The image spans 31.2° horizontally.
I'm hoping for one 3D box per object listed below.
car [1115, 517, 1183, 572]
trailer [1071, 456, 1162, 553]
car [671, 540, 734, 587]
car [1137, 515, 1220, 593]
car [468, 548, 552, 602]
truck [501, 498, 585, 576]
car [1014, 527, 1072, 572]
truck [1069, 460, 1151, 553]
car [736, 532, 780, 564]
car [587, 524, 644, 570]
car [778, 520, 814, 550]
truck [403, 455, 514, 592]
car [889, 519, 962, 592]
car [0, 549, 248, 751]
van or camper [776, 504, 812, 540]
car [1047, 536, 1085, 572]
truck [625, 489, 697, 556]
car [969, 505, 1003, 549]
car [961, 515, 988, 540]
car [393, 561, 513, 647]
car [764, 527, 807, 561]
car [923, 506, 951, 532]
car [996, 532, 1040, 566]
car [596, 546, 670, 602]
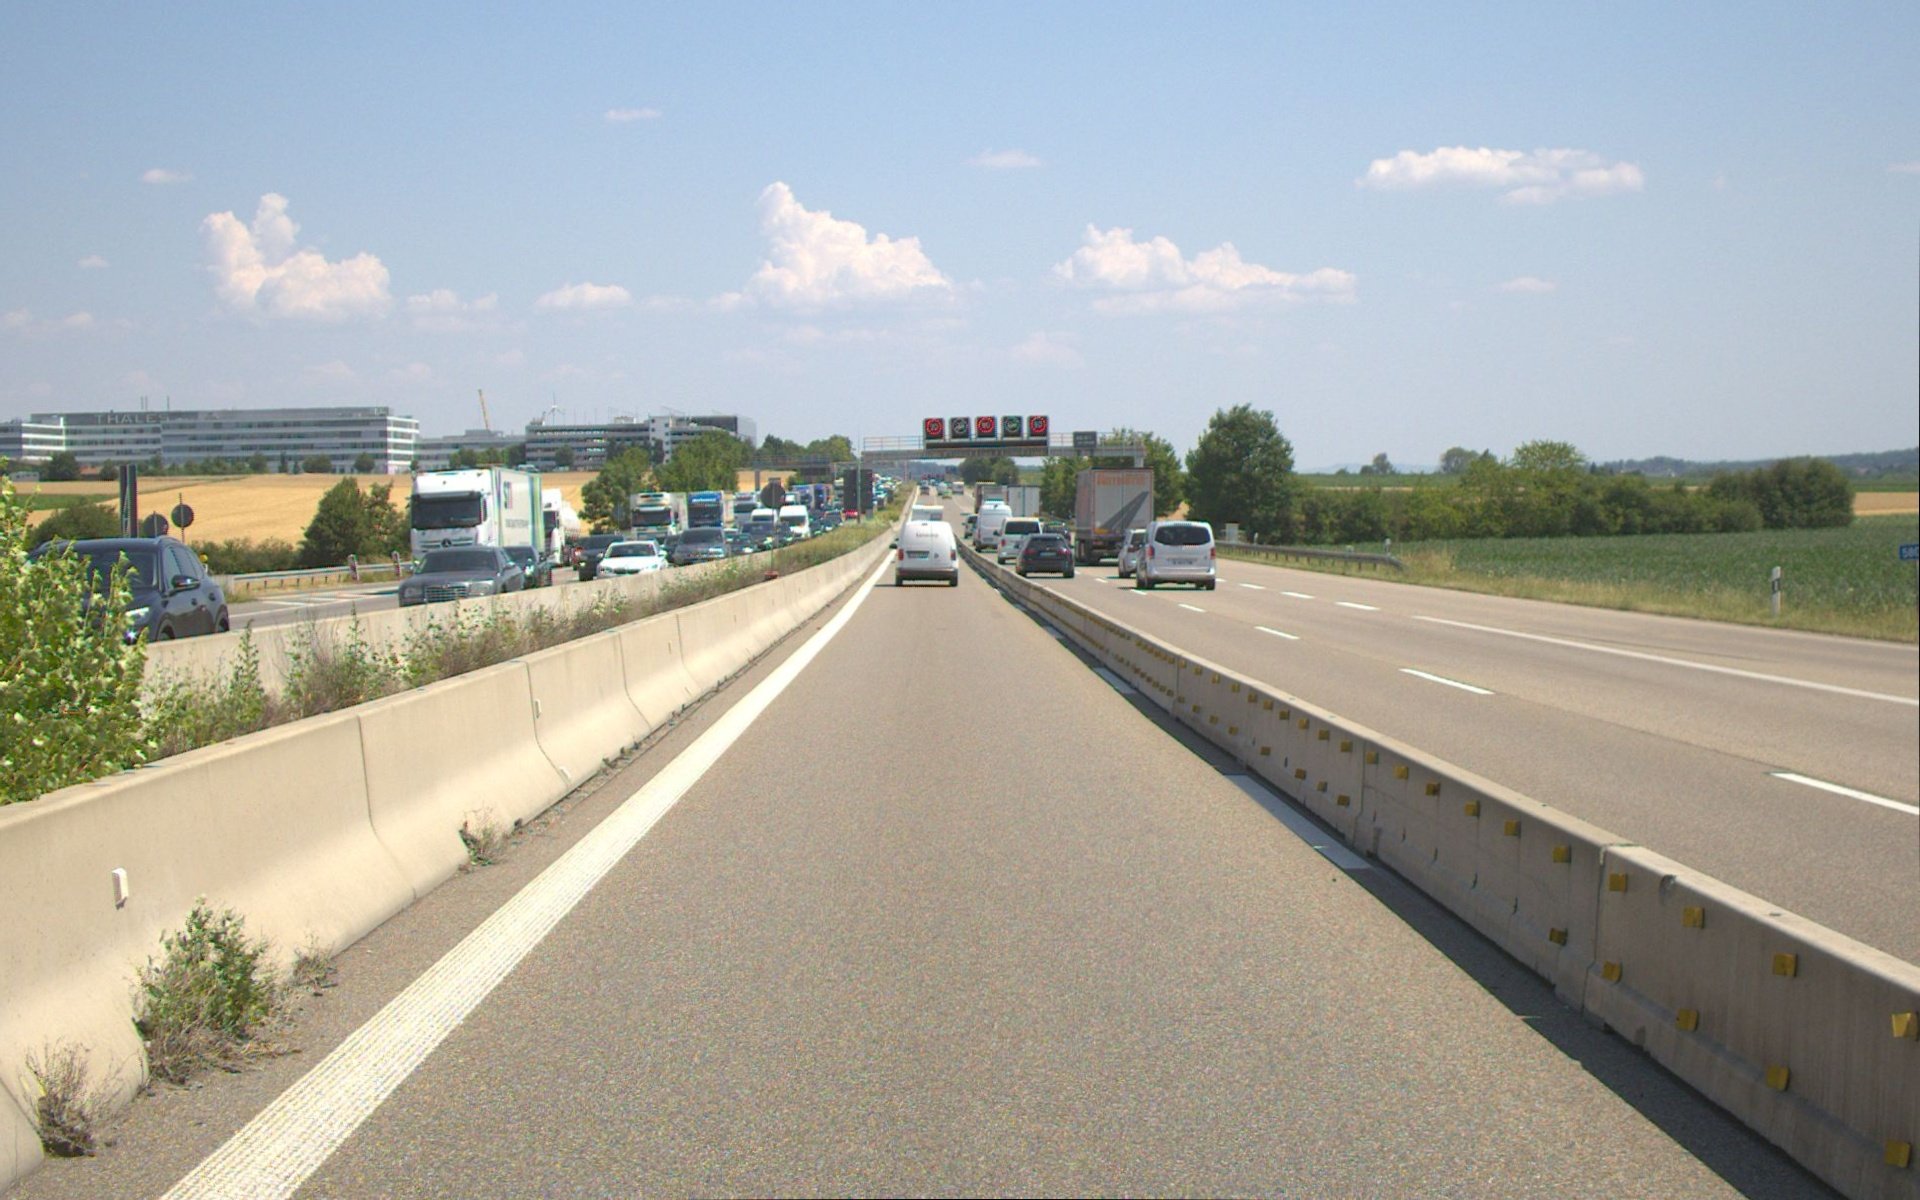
[{"bbox_3d":[6.226,-1.826,113.581,1.993,1.787,4.000,0,1,-1],"label":"car"},{"bbox_3d":[6.517,-3.969,144.416,3.277,3.953,9.113,0,1,-1],"label":"trailer"},{"bbox_3d":[-8.961,-1.288,120.051,1.890,1.611,4.821,0,1,-1],"label":"car"},{"bbox_3d":[5.976,-1.270,94.497,1.993,2.112,4.000,0,1,-1],"label":"car"},{"bbox_3d":[-12.689,-0.730,97.186,1.812,1.481,4.963,0,1,-1],"label":"car"},{"bbox_3d":[-21.646,-3.327,179.019,2.899,3.763,13.290,-3,1,-1],"label":"truck"},{"bbox_3d":[2.729,-1.668,113.516,1.773,1.442,4.000,0,1,-1],"label":"car"},{"bbox_3d":[6.466,-4.014,148.658,3.271,3.953,4.913,0,1,-1],"label":"truck"},{"bbox_3d":[-8.747,-2.281,149.087,1.655,1.347,4.267,0,1,0],"label":"car"},{"bbox_3d":[-12.680,-1.960,126.847,1.655,1.646,4.665,0,1,0],"label":"car"},{"bbox_3d":[-8.953,-3.566,188.298,1.782,1.584,4.541,0,1,0],"label":"car"},{"bbox_3d":[-16.724,-2.554,114.892,2.870,4.360,4.903,-2,1,-1],"label":"truck"},{"bbox_3d":[-0.975,-1.264,96.848,1.993,2.007,4.000,0,1,-1],"label":"car"},{"bbox_3d":[-8.404,0.422,33.479,1.993,1.753,4.645,0,2,0],"label":"car"},{"bbox_3d":[-10.469,-4.959,217.522,2.035,2.214,7.209,1,2,-1],"label":"van or camper"},{"bbox_3d":[5.973,-2.618,194.765,1.993,2.007,4.000,0,1,-1],"label":"car"},{"bbox_3d":[-17.006,-4.448,196.229,2.795,3.597,13.290,-3,1,0],"label":"truck"},{"bbox_3d":[1.402,-3.973,187.909,1.773,2.384,4.000,0,1,-1],"label":"car"},{"bbox_3d":[1.101,-5.418,257.462,1.993,1.829,4.000,0,1,-1],"label":"car"},{"bbox_3d":[-9.224,0.052,62.774,1.655,1.514,4.000,0,1,-1],"label":"car"},{"bbox_3d":[-8.353,-2.687,164.728,1.843,1.564,5.345,0,1,0],"label":"car"},{"bbox_3d":[-1.623,-5.760,244.100,1.993,1.829,4.000,0,1,-1],"label":"car"},{"bbox_3d":[2.451,-2.177,147.077,1.773,1.442,4.000,0,1,-1],"label":"car"},{"bbox_3d":[-9.072,-0.741,95.563,1.674,1.514,4.508,0,1,-1],"label":"car"}]
